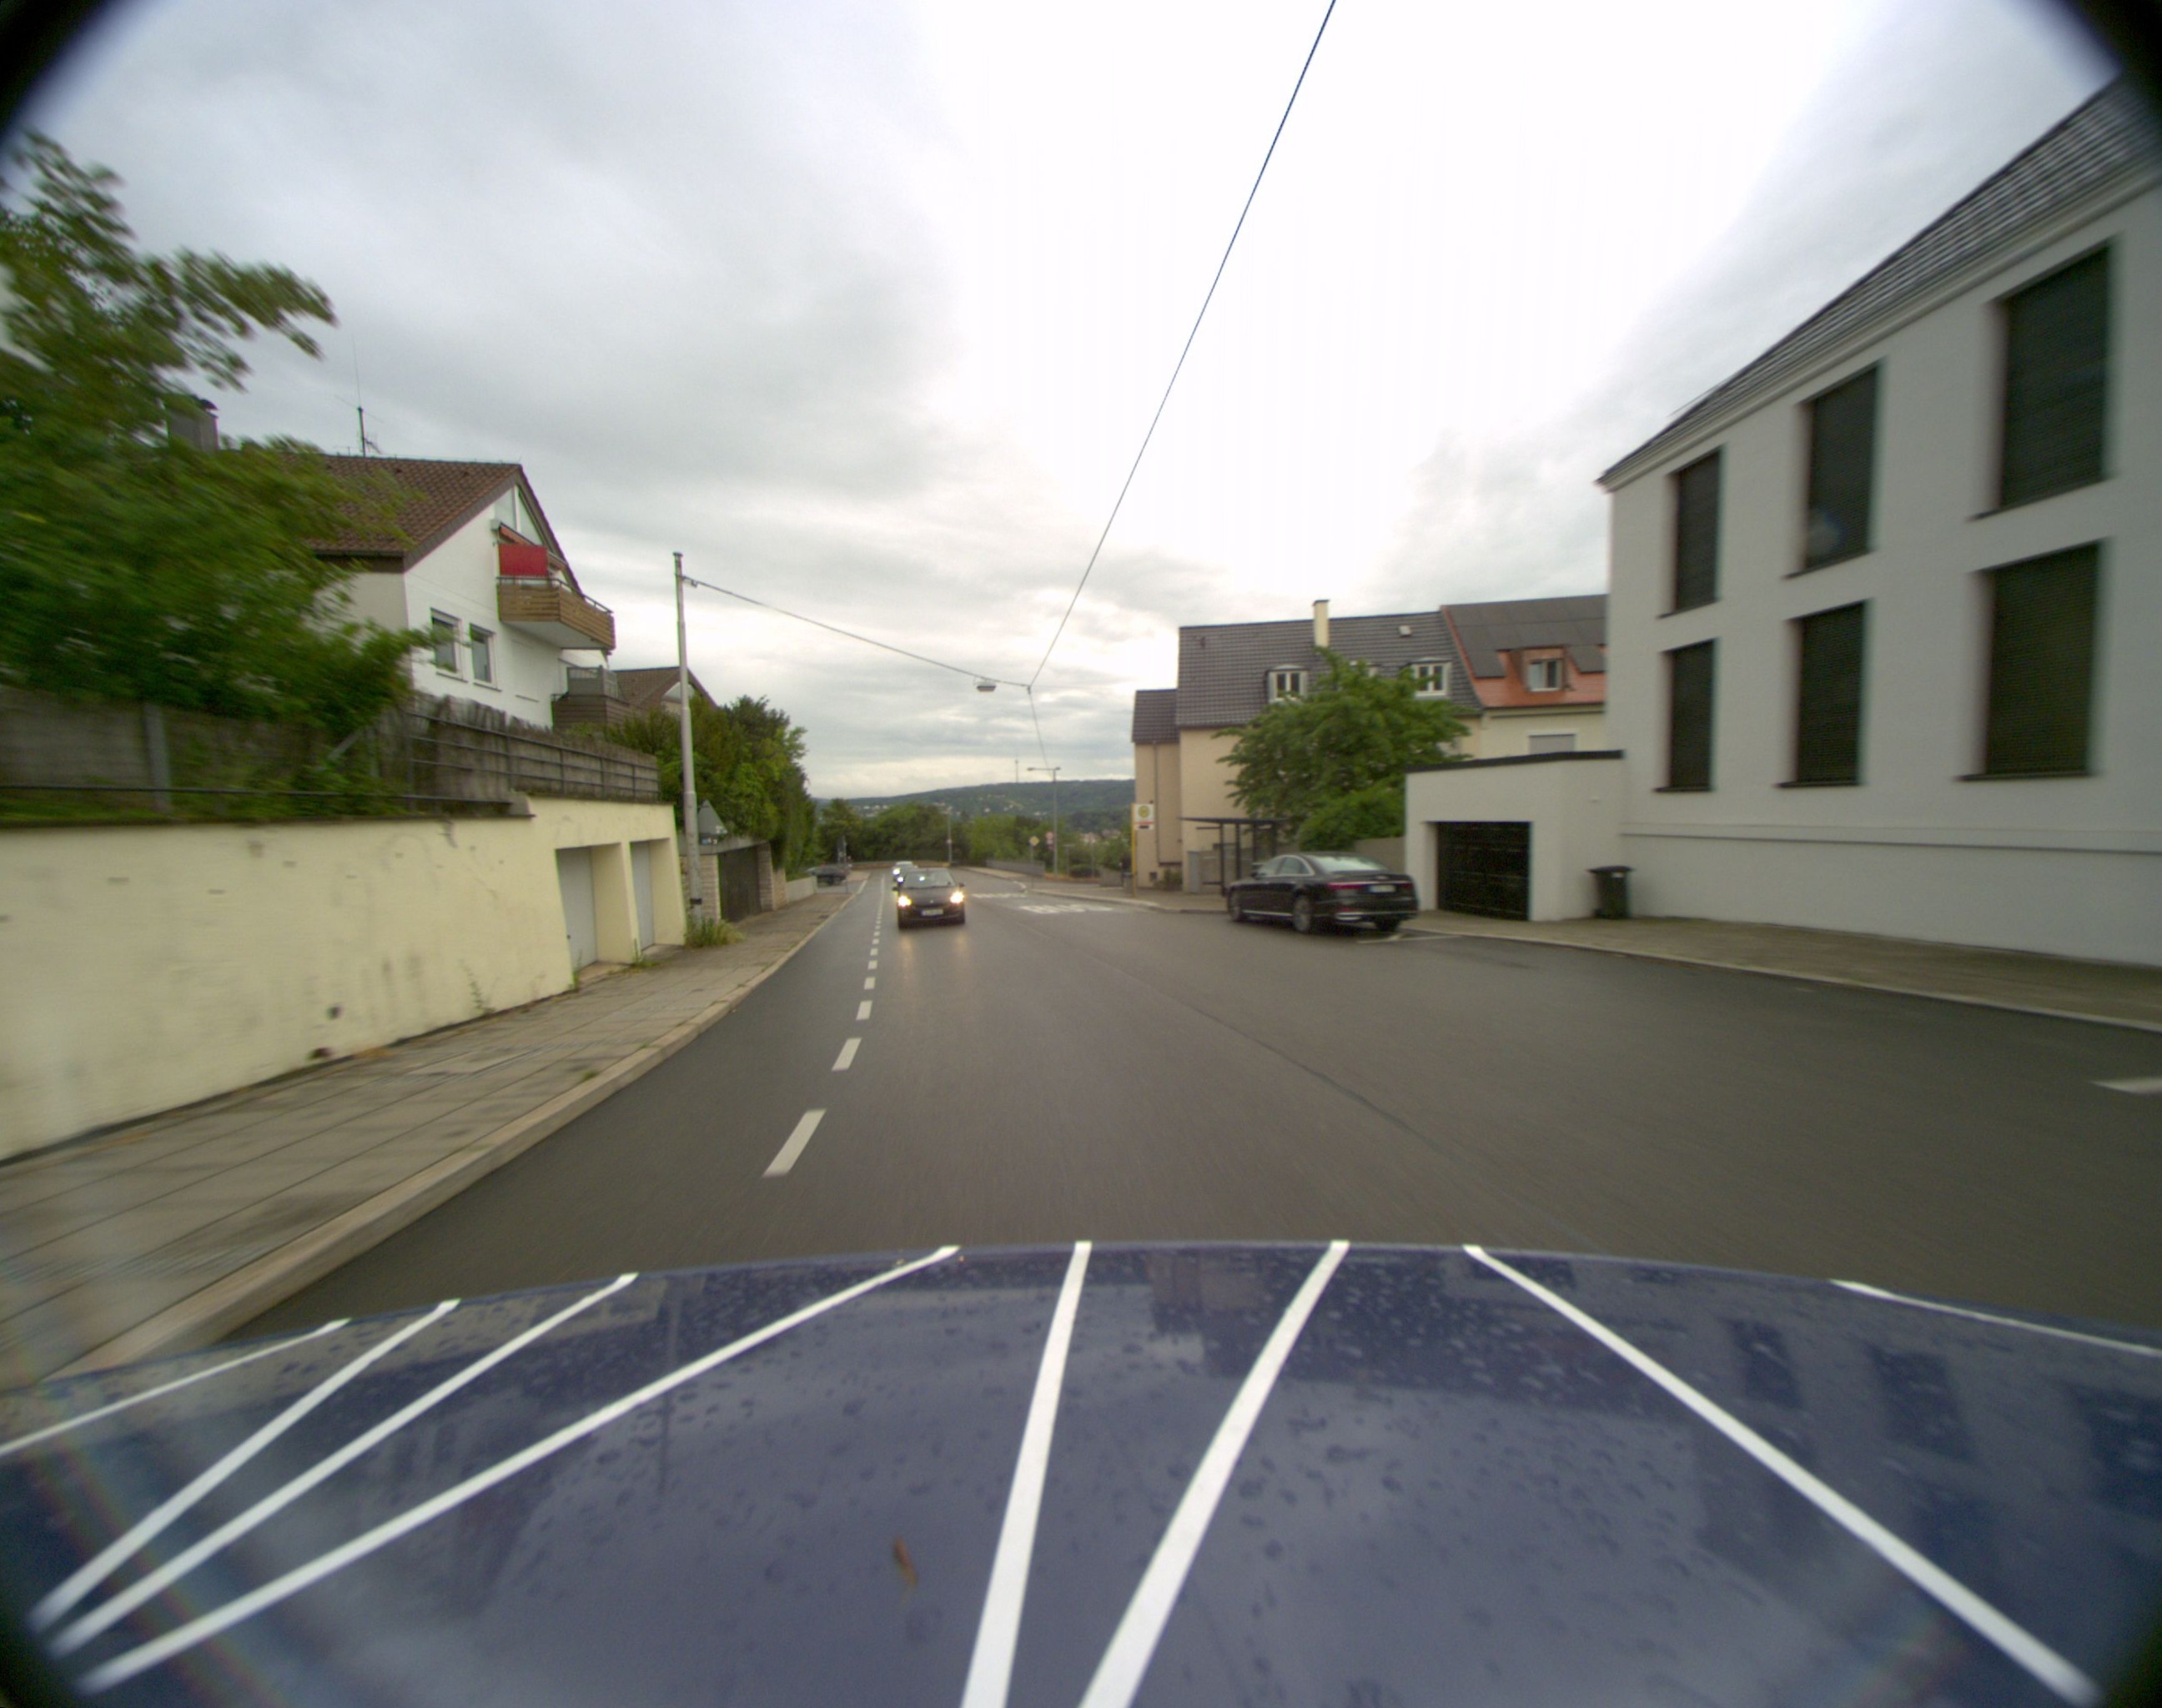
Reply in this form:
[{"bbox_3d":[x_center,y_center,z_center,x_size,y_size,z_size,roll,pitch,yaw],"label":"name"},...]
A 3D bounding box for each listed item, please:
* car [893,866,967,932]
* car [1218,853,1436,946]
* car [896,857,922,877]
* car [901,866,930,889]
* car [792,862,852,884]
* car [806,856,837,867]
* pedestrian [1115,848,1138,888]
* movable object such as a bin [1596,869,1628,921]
[{"bbox_3d":[-4.011,1.102,20.054,1.682,1.405,3.633,-3,1,-12],"label":"car"},{"bbox_3d":[4.574,0.761,15.117,1.835,1.477,4.985,-2,0,-13],"label":"car"},{"bbox_3d":[-15.310,1.118,67.453,1.891,1.566,4.585,-3,2,-17],"label":"car"},{"bbox_3d":[-11.700,1.647,53.647,1.768,1.445,4.394,-2,0,-15],"label":"car"},{"bbox_3d":[-21.561,1.576,63.314,4.209,1.514,1.995,-4,1,-39],"label":"car"},{"bbox_3d":[-37.064,1.018,108.340,3.990,1.536,1.742,0,1,23],"label":"car"},{"bbox_3d":[2.182,0.667,36.483,0.789,1.846,0.727,-4,2,-14],"label":"pedestrian"},{"bbox_3d":[9.382,0.717,13.430,0.371,0.907,0.283,0,1,-1],"label":"movable object such as a bin"}]
